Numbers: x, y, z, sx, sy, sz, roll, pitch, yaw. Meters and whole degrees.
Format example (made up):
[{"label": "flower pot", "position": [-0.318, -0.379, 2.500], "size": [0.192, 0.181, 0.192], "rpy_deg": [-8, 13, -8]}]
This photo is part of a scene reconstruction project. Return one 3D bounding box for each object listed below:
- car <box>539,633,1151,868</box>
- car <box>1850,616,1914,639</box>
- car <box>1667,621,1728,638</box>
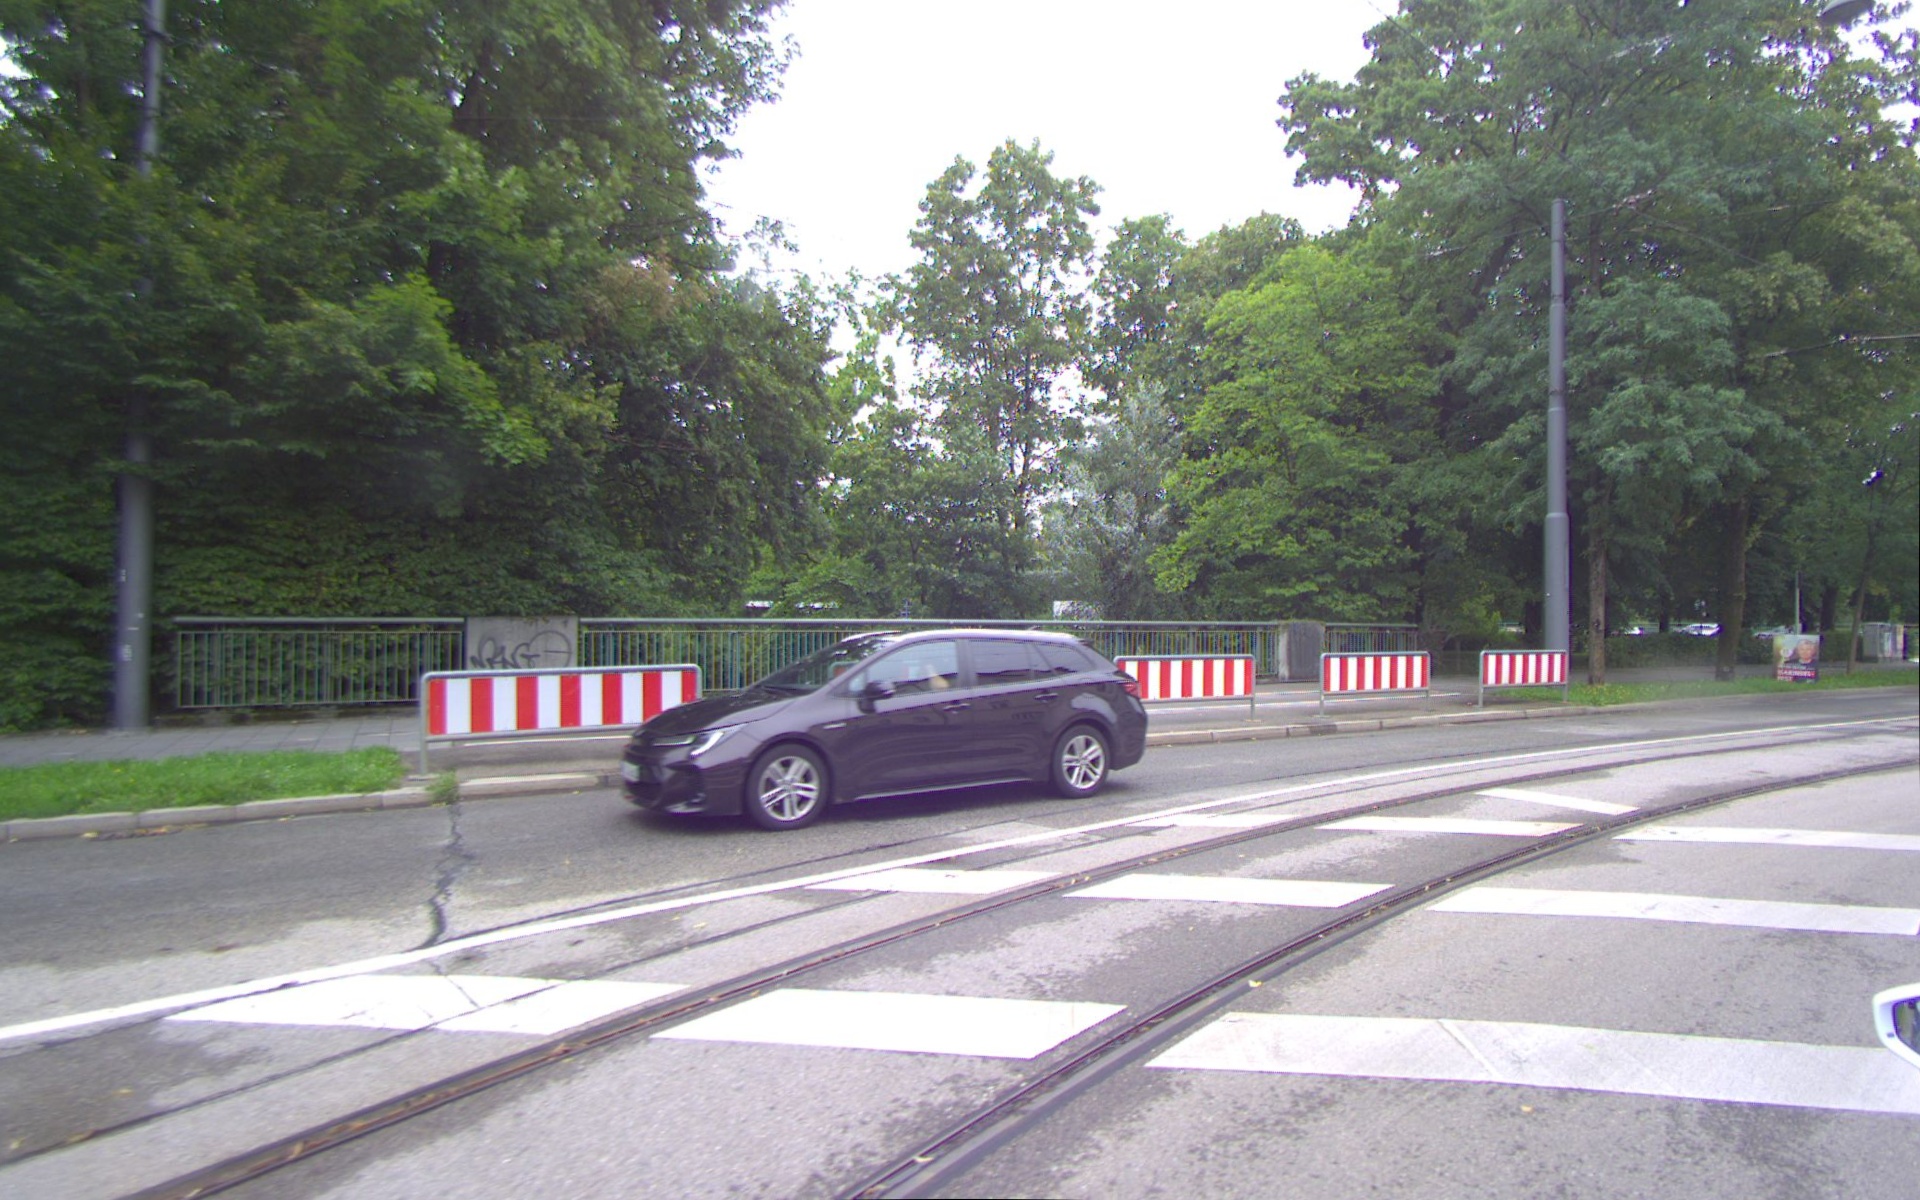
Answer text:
[{"label": "car", "position": [-0.767, 1.022, 8.259], "size": [4.787, 1.407, 1.615], "rpy_deg": [0, -3, -33]}, {"label": "car", "position": [65.078, 1.916, 70.911], "size": [1.237, 1.471, 3.091], "rpy_deg": [1, 0, -33]}, {"label": "car", "position": [58.925, 2.363, 80.330], "size": [1.237, 1.201, 3.706], "rpy_deg": [1, 0, -33]}]
